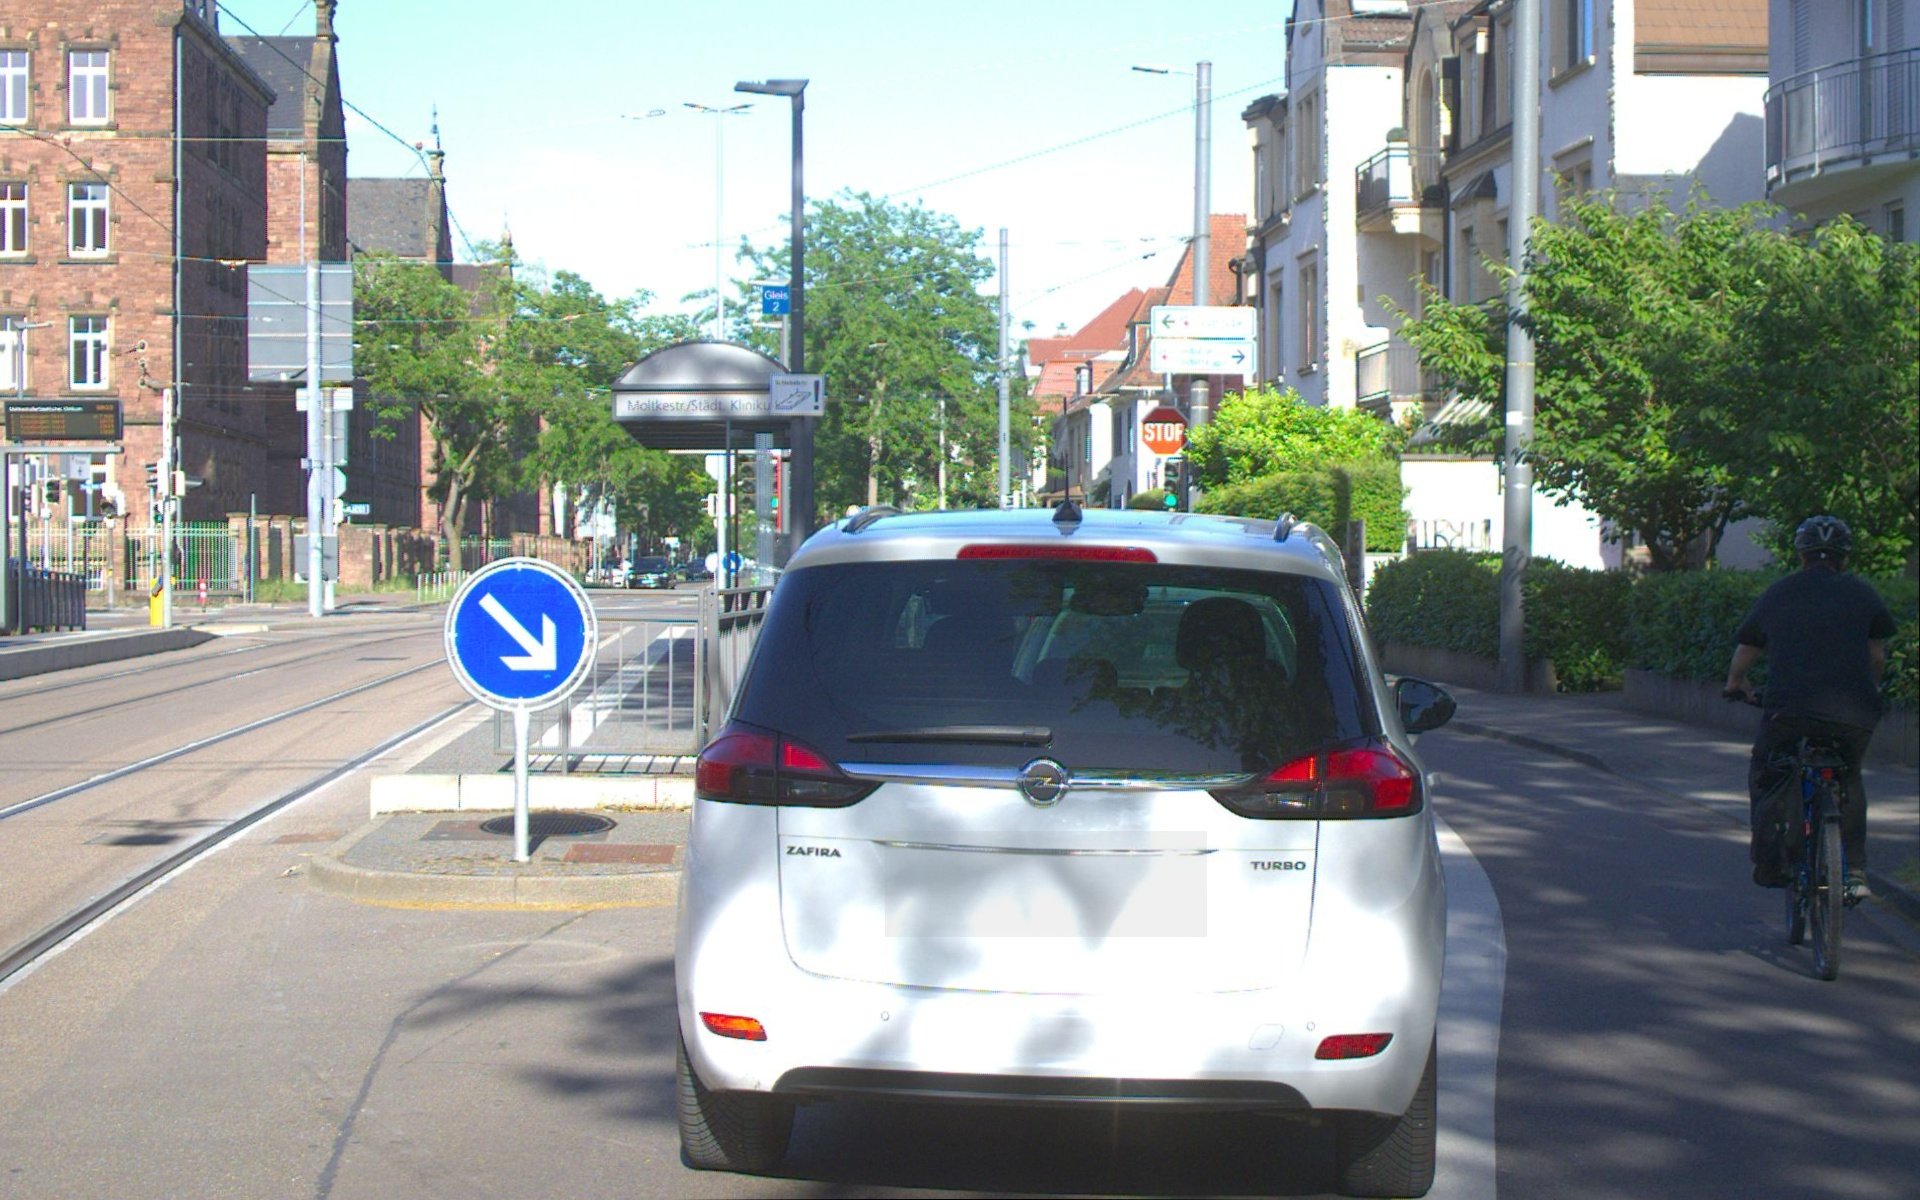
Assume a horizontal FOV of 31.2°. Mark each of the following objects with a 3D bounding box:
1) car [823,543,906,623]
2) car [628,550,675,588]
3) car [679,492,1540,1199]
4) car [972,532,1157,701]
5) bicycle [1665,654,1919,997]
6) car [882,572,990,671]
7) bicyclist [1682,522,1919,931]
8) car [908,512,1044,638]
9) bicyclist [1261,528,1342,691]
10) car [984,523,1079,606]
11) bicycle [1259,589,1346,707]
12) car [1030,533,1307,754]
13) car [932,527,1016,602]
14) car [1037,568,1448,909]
[{"bbox_3d":[-2.089,-0.374,75.756,1.776,1.687,3.881,1,0,-1],"label":"car"},{"bbox_3d":[-13.857,-1.413,154.471,1.906,1.671,4.358,1,1,-3],"label":"car"},{"bbox_3d":[0.240,0.584,9.346,1.834,1.636,3.919,1,0,-2],"label":"car"},{"bbox_3d":[1.036,0.143,35.420,1.776,1.626,3.880,1,0,1],"label":"car"},{"bbox_3d":[3.226,0.814,13.203,0.829,1.150,2.094,1,0,7],"label":"bicycle"},{"bbox_3d":[-0.417,0.343,58.919,1.776,1.626,3.881,1,0,0],"label":"car"},{"bbox_3d":[3.233,0.461,13.151,0.821,1.496,0.934,1,0,7],"label":"bicyclist"},{"bbox_3d":[0.181,-0.345,47.224,1.776,1.626,3.881,1,0,-1],"label":"car"},{"bbox_3d":[3.469,0.095,34.993,0.685,1.629,1.015,1,0,-1],"label":"bicyclist"},{"bbox_3d":[1.436,-0.730,70.436,1.776,1.626,3.881,1,0,-1],"label":"car"},{"bbox_3d":[3.466,0.474,34.923,0.685,1.153,1.619,1,0,-1],"label":"bicycle"},{"bbox_3d":[1.596,0.310,27.624,1.776,1.626,3.881,1,0,-3],"label":"car"},{"bbox_3d":[0.298,-0.802,77.872,1.776,1.626,3.881,1,0,-1],"label":"car"},{"bbox_3d":[1.250,0.570,16.613,1.586,1.415,3.900,0,1,-1],"label":"car"}]
